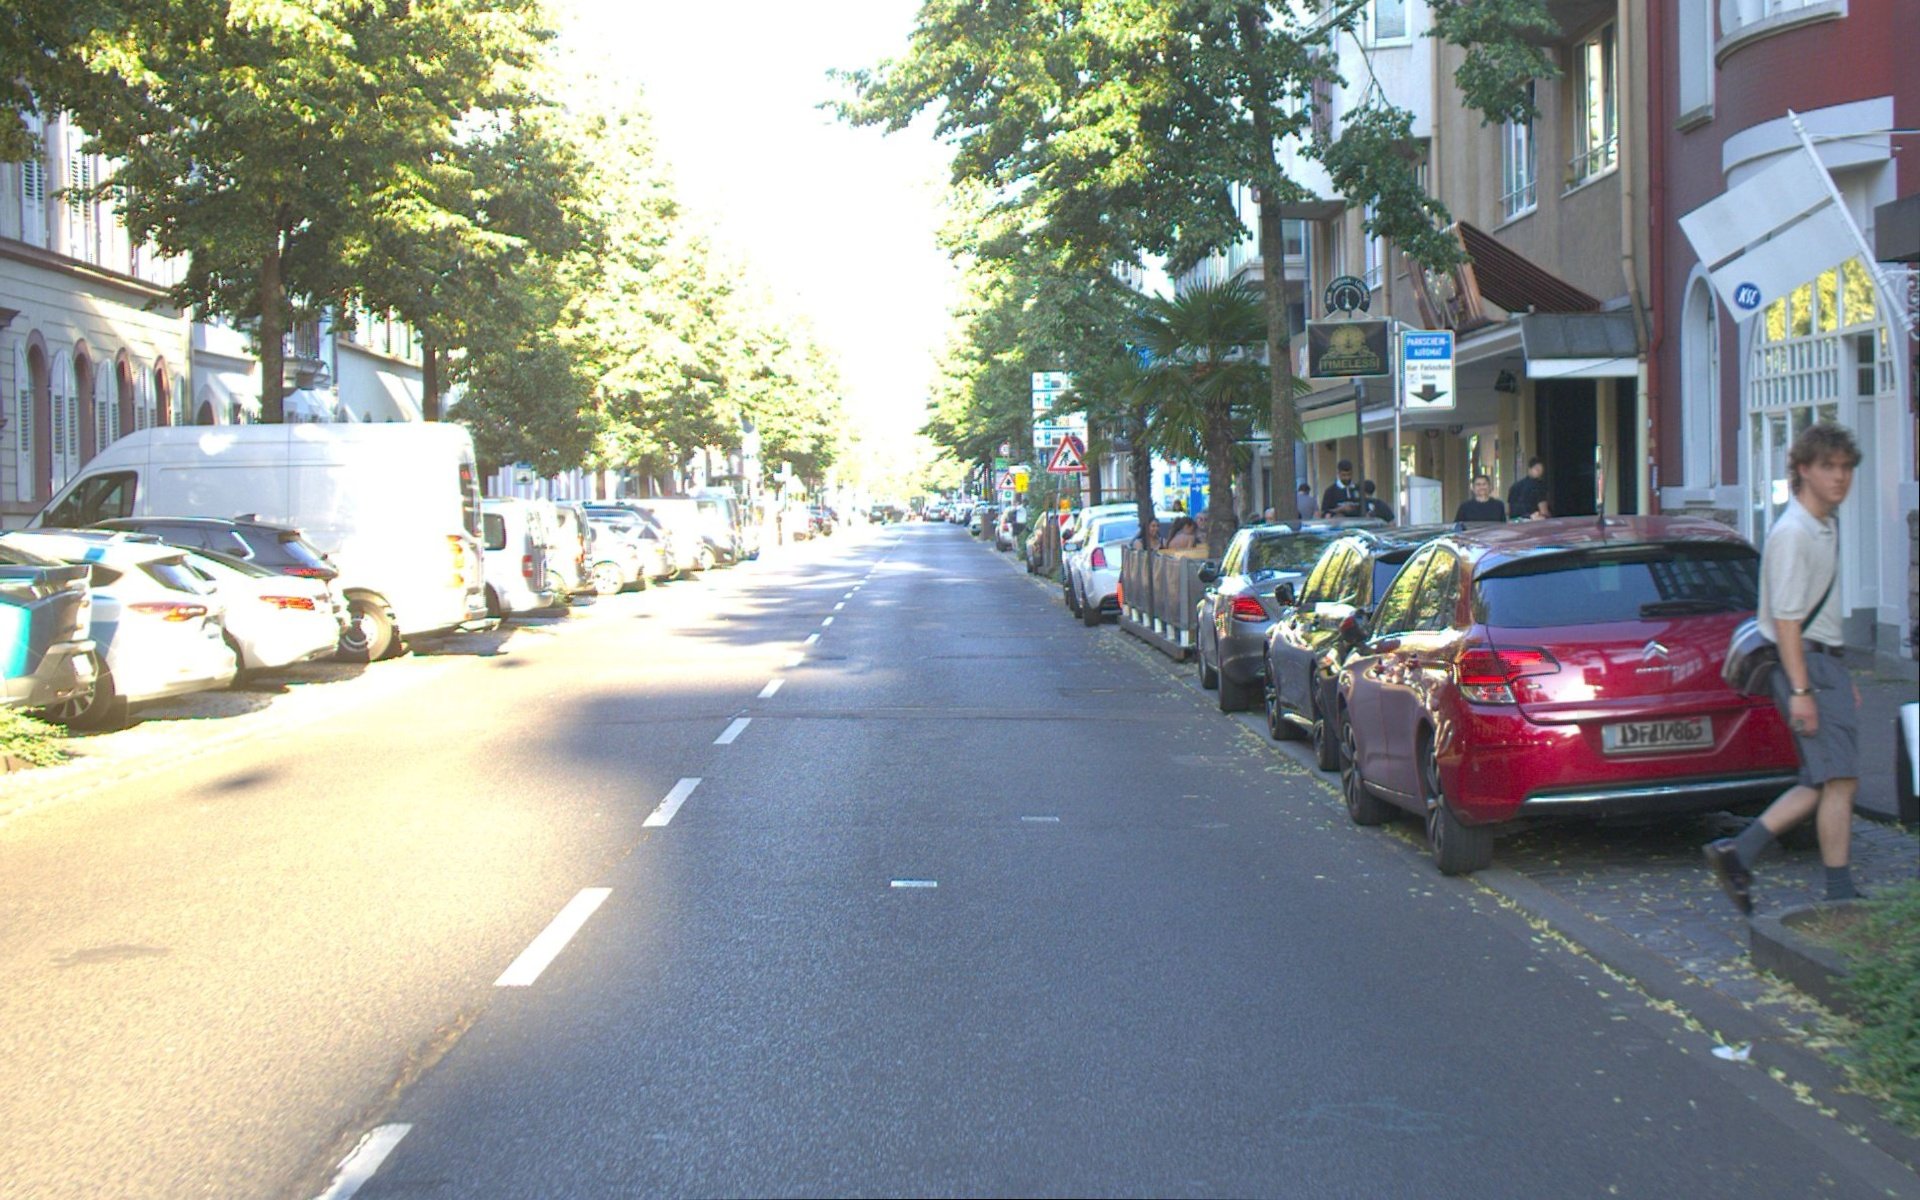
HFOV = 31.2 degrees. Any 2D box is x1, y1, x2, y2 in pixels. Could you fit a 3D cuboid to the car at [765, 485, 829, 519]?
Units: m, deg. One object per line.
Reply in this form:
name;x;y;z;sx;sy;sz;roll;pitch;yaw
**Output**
car;-11.583;-6.960;245.024;4.442;2.426;1.919;0;1;0

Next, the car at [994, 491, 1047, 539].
car;2.114;-2.996;121.383;1.687;1.569;4.013;-3;2;0

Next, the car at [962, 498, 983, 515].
car;0.947;-6.983;257.293;1.513;1.271;3.304;0;1;1

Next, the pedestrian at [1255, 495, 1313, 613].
pedestrian;3.885;-0.557;41.252;0.577;1.380;0.603;-3;1;0

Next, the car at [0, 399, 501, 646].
car;-8.100;-0.869;38.357;5.658;2.612;2.171;1;2;0

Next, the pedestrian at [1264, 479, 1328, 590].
pedestrian;5.507;-1.079;56.362;0.855;1.788;0.997;-2;1;-4

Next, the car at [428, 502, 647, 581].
car;-8.124;-1.141;66.339;4.058;1.456;1.686;-1;2;-3

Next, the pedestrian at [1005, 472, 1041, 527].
pedestrian;2.128;-3.398;116.193;1.013;1.819;0.780;-3;1;-10

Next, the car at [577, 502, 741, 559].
car;-8.094;-1.874;92.407;4.325;1.496;1.842;0;2;-5

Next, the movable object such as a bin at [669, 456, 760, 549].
movable object such as a bin;-8.026;-3.192;112.928;2.625;2.959;5.304;0;1;-1

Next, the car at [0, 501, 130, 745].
car;-8.120;0.113;24.072;4.230;1.645;1.894;1;2;-4

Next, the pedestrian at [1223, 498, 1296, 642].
pedestrian;3.160;-0.328;36.317;0.631;1.480;0.795;-3;2;0

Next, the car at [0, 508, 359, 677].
car;-7.909;-0.093;32.320;4.213;1.501;1.793;1;2;-1

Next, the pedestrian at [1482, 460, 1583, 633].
pedestrian;6.390;-0.606;38.376;0.800;1.876;0.876;0;3;31

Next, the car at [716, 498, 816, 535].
car;-9.140;-3.942;162.138;4.571;1.692;2.060;0;1;0

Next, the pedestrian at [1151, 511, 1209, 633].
pedestrian;2.537;-0.328;39.700;0.577;1.380;0.603;-3;1;0

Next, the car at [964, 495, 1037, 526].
car;2.097;-4.635;177.861;1.674;1.583;3.814;1;2;42

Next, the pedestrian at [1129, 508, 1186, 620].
pedestrian;2.374;-0.438;41.394;0.577;1.314;0.704;-3;1;0

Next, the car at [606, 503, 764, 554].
car;-8.367;-2.189;104.985;4.594;1.465;1.892;1;2;3

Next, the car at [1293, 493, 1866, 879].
car;2.767;0.288;16.443;1.722;1.487;4.753;-3;2;-1

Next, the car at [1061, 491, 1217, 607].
car;2.504;-0.764;49.257;1.842;1.475;5.190;-3;2;-1

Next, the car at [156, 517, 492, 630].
car;-8.039;-0.334;43.717;3.986;1.399;1.750;0;0;-2

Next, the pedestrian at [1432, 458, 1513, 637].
pedestrian;4.879;-0.501;32.741;0.624;1.671;0.641;-2;1;0

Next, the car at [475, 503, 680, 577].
car;-7.901;-1.256;71.274;4.037;1.478;1.963;-1;2;-1

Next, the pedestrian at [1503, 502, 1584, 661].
pedestrian;5.604;-0.185;33.024;0.624;1.483;0.641;-2;1;0

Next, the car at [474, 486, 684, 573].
car;-8.442;-1.581;76.377;4.428;1.863;1.894;-1;2;0

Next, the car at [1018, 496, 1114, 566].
car;2.437;-1.623;79.993;1.828;1.483;4.850;-3;2;-2

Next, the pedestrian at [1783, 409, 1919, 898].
pedestrian;3.862;0.165;12.894;1.046;1.779;0.945;-4;1;-26

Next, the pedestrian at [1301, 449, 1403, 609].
pedestrian;4.725;-0.859;41.451;0.875;1.876;0.801;-4;4;-38

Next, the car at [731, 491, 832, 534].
car;-8.256;-4.060;159.423;4.571;1.955;1.991;0;1;0

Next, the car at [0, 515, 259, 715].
car;-7.766;0.075;26.895;4.185;1.477;1.970;1;2;-1

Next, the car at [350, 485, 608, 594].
car;-8.269;-1.052;59.351;4.138;1.800;1.807;-1;2;1

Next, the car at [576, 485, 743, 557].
car;-8.410;-2.224;96.548;4.483;1.969;2.068;0;2;0

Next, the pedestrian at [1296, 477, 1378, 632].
pedestrian;3.980;-0.489;36.332;0.708;1.593;0.795;-3;2;0

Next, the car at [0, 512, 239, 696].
car;-8.172;0.002;29.797;3.408;1.505;1.846;1;2;3

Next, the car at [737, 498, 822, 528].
car;-9.620;-4.632;183.580;4.442;1.562;1.919;0;1;0

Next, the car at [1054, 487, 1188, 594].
car;2.572;-0.993;55.969;1.879;1.568;4.692;-3;2;0

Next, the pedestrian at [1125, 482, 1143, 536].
pedestrian;6.009;-3.141;118.613;0.460;1.868;0.501;-2;2;-15

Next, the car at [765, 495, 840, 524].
car;-9.485;-5.469;207.592;4.442;1.753;1.919;0;1;0

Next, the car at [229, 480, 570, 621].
car;-7.948;-0.717;48.989;4.500;1.947;1.919;0;2;2

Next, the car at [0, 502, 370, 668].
car;-8.279;-0.178;34.905;4.213;1.594;1.975;1;2;1

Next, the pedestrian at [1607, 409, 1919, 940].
pedestrian;2.946;0.252;12.294;0.730;1.779;0.870;-5;1;-26

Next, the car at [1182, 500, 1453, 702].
car;2.869;-0.064;28.522;1.774;1.435;5.000;-3;2;1

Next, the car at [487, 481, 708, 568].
car;-8.304;-1.744;79.051;4.870;1.901;1.974;-1;2;0

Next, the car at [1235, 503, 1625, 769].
car;2.933;0.155;22.361;1.774;1.465;4.418;-3;2;-1
